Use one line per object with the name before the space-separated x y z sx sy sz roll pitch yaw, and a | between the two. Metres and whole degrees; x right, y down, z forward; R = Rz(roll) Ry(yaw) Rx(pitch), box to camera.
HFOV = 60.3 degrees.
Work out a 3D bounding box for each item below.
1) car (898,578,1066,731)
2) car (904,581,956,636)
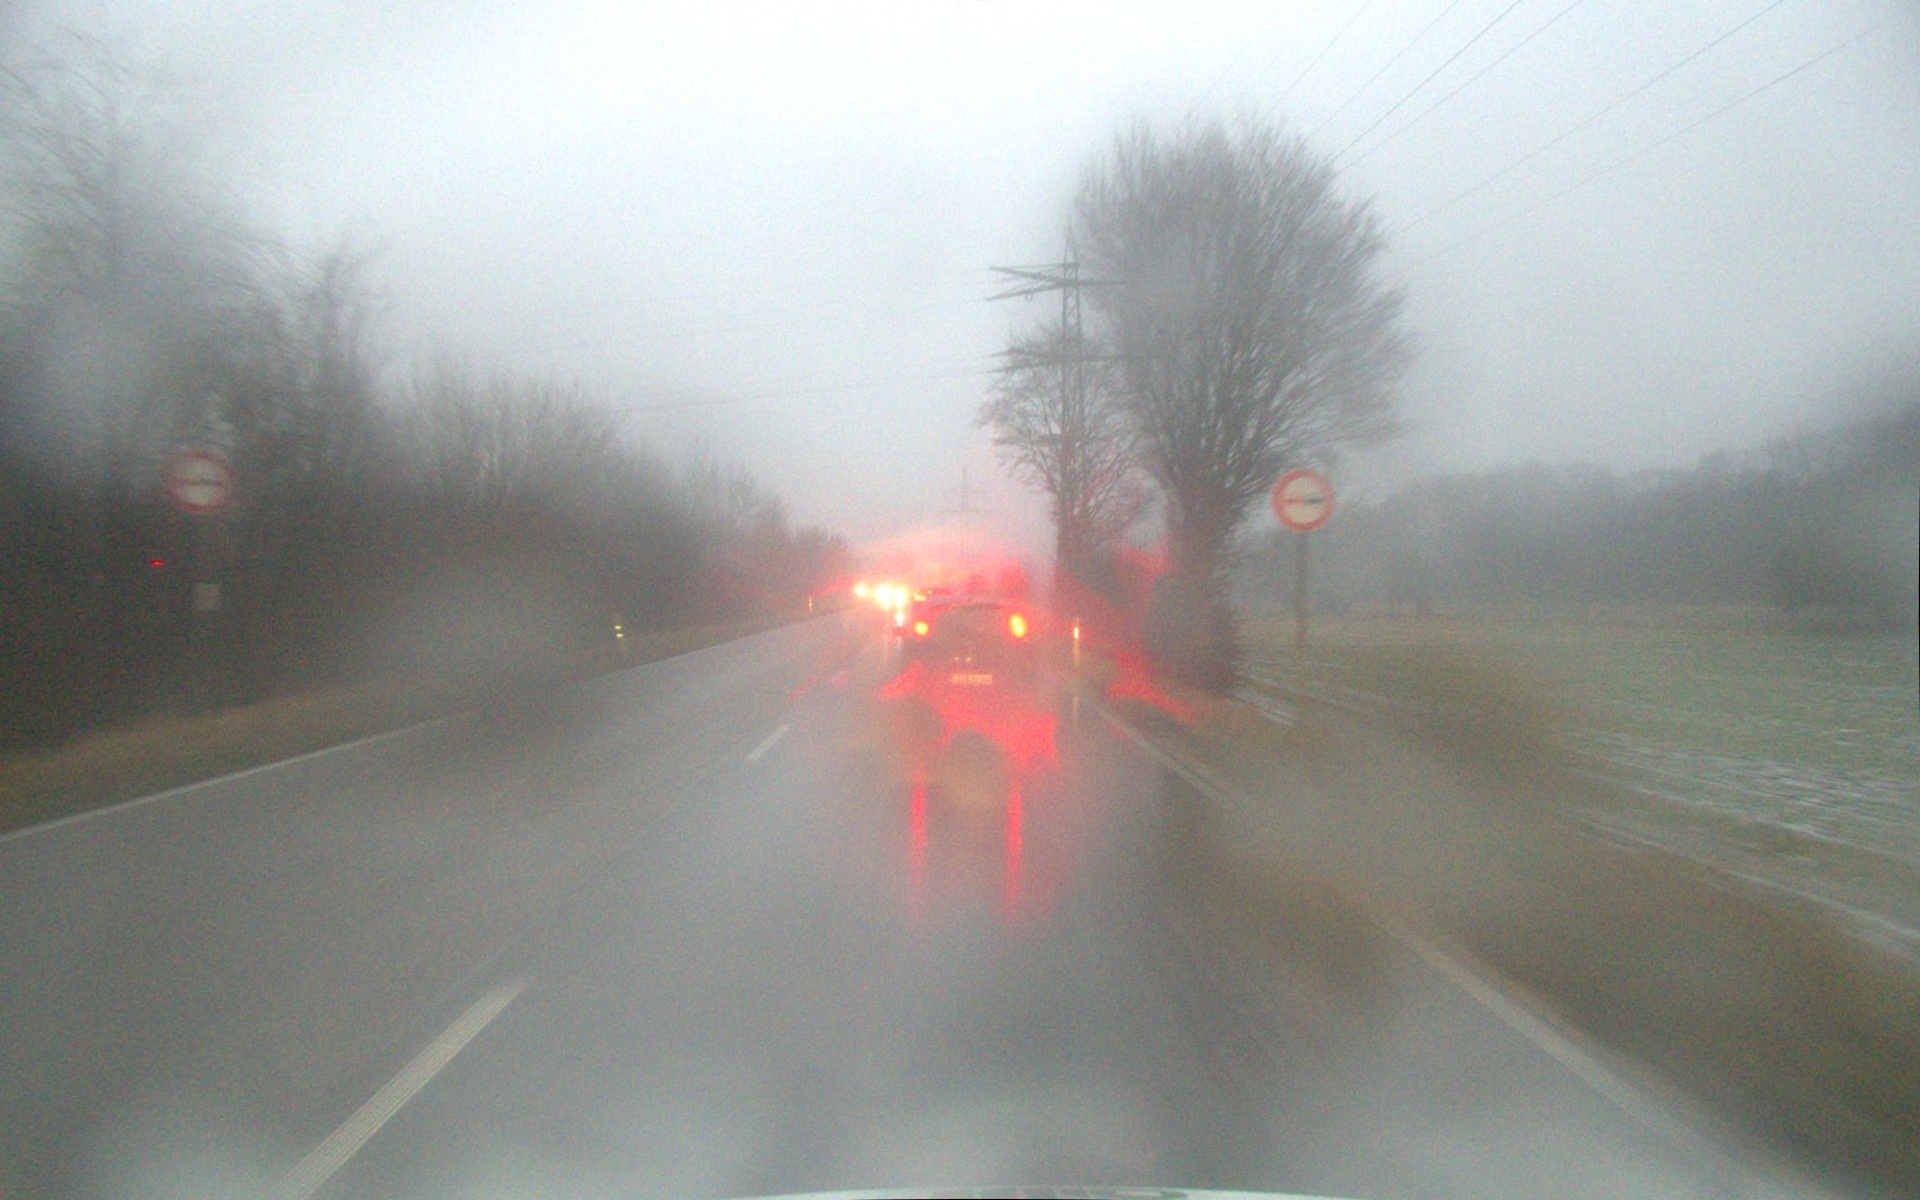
car | 0.216 0.632 21.253 1.953 1.783 3.999 0 0 -1
car | -1.136 0.307 64.461 1.953 2.049 4.000 -1 0 0
